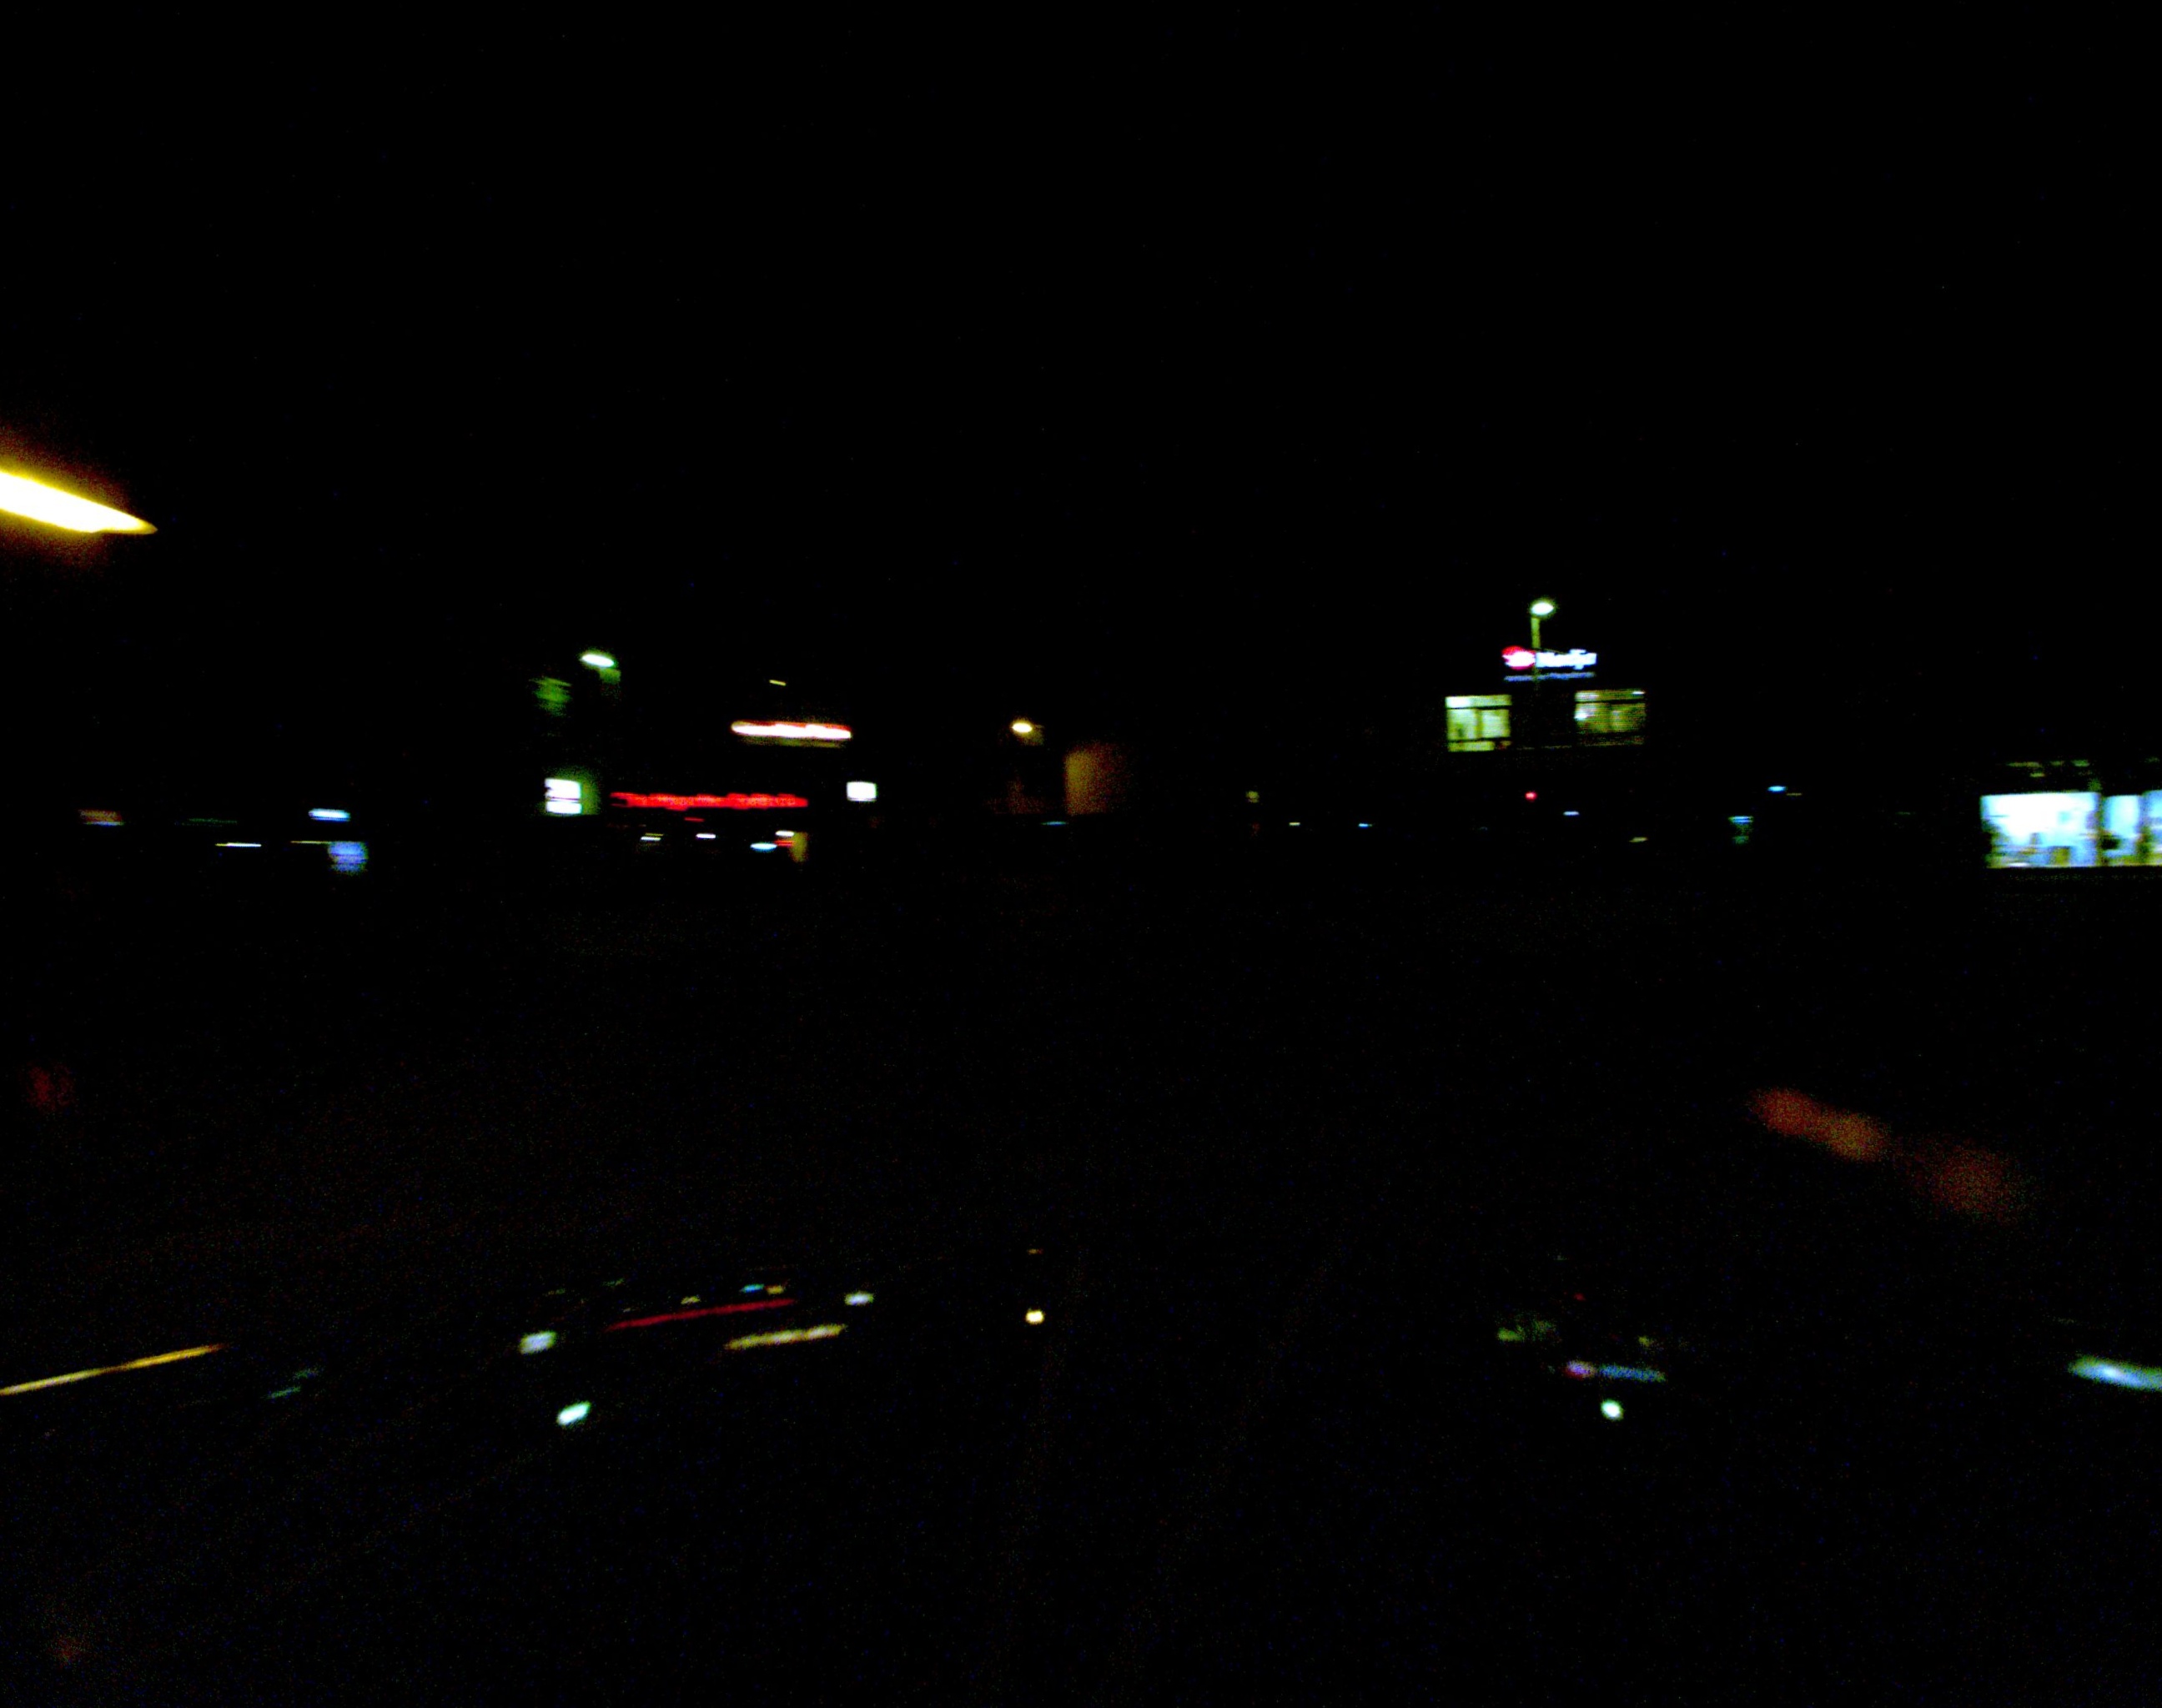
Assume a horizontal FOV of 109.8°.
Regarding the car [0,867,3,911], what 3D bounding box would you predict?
[{"bbox_3d":[-42.079,1.322,27.421,3.859,1.643,1.875,-1,0,3],"label":"car"}]
